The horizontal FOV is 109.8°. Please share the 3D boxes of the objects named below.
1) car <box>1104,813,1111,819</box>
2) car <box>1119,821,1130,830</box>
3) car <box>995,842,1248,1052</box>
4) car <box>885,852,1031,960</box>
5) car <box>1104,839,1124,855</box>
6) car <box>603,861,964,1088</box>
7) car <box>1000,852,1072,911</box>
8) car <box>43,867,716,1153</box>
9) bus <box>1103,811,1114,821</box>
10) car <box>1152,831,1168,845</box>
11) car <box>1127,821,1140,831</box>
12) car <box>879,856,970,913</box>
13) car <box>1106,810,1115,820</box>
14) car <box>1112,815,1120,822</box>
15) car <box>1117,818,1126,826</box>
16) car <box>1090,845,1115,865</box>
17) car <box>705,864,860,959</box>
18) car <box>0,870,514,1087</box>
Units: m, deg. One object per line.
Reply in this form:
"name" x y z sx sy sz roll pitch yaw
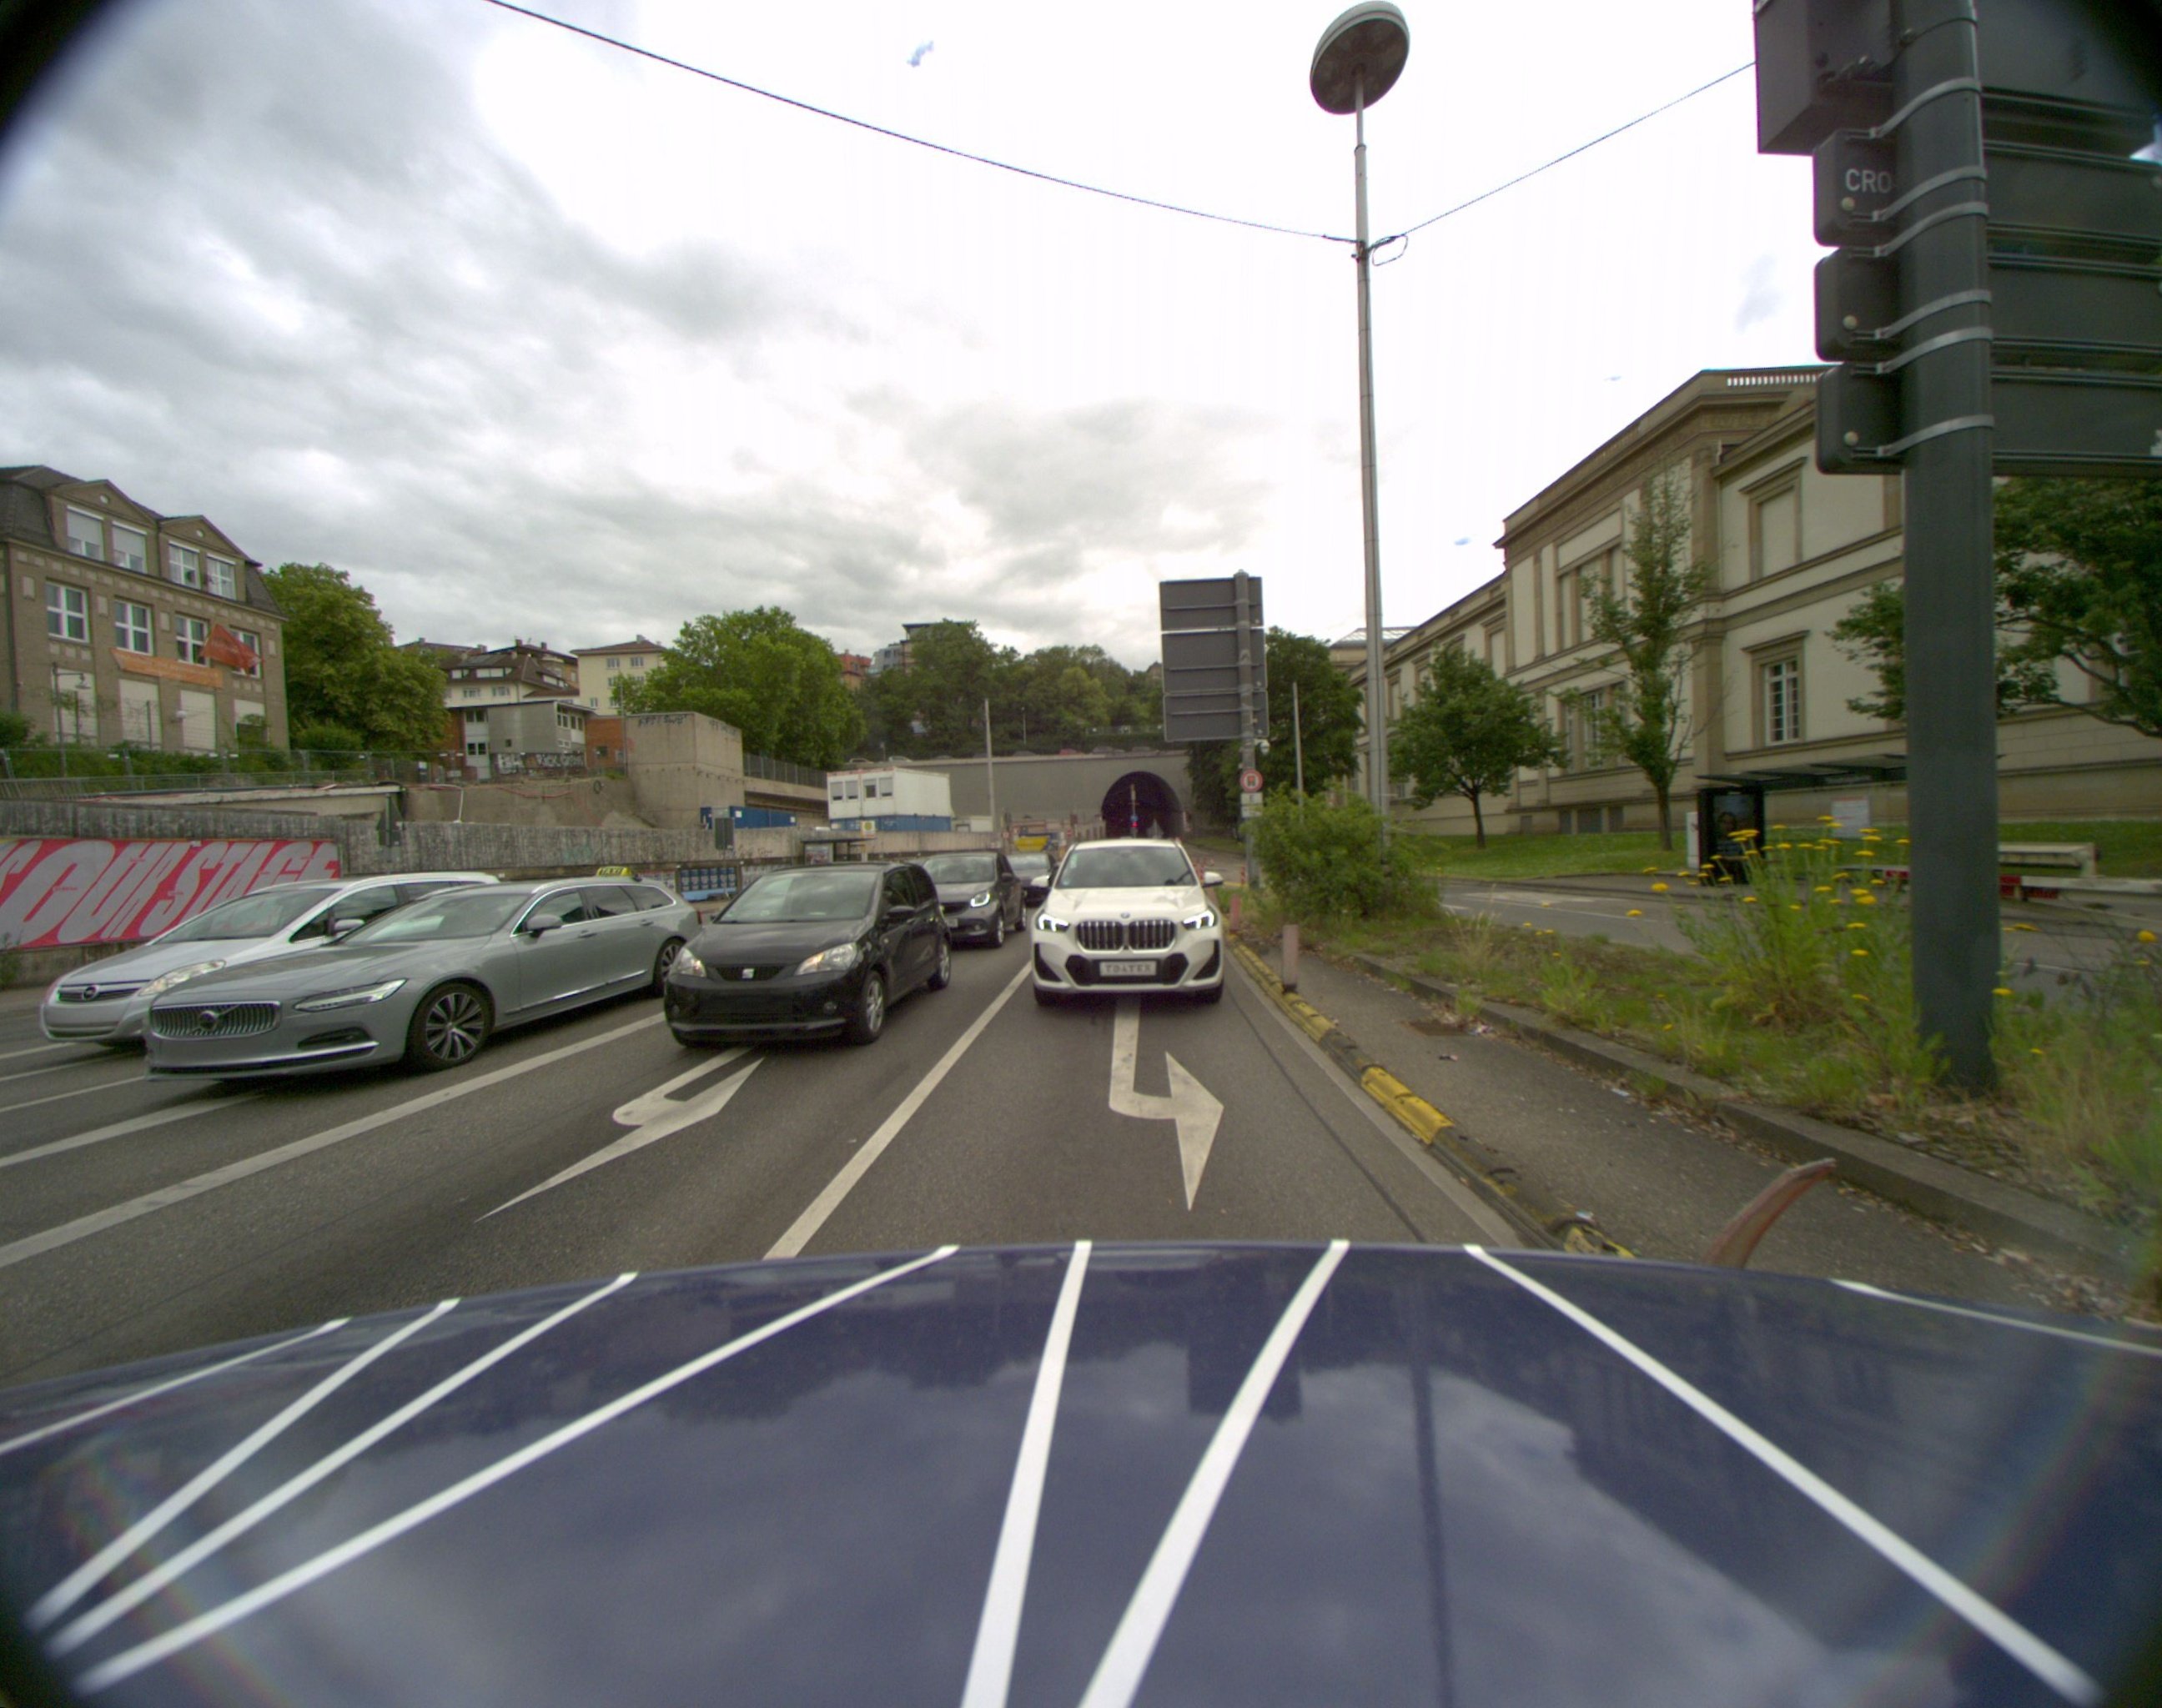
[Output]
"car" 8.291 -12.116 241.635 1.946 1.714 4.000 -2 1 5
"car" 8.777 -5.705 153.906 1.903 1.615 4.107 -2 1 1
"car" 0.385 0.727 7.959 1.987 1.616 3.670 -2 1 2
"car" -1.964 0.768 13.135 1.720 1.535 3.575 -2 1 3
"car" 3.018 -0.697 69.999 1.680 1.358 3.806 -2 1 2
"car" -2.407 0.885 7.266 1.828 1.450 3.700 -2 1 2
"car" -1.208 0.726 22.021 1.680 1.450 3.806 -2 1 2
"car" -5.692 1.060 7.317 1.828 1.616 4.808 -2 1 2
"bus" 9.499 -13.339 264.651 3.171 3.130 9.118 -2 1 0
"car" 10.314 -2.093 98.966 1.836 1.736 4.000 -2 1 3
"car" 9.190 -4.861 132.436 1.902 1.615 4.109 -2 1 8
"car" -4.445 0.825 22.110 1.680 1.358 3.806 -2 1 2
"car" 8.345 -10.965 213.128 2.203 2.494 4.758 -2 1 4
"car" 8.818 -8.819 189.306 1.778 1.609 3.802 -2 1 1
"car" 8.954 -7.082 169.020 1.903 1.615 4.107 -2 1 1
"car" 1.566 0.049 55.212 1.680 1.358 3.806 -2 1 2
"car" -5.397 0.985 14.081 1.665 1.423 2.714 -2 1 2
"car" -8.931 1.138 8.751 1.680 1.616 4.207 -4 1 -3
